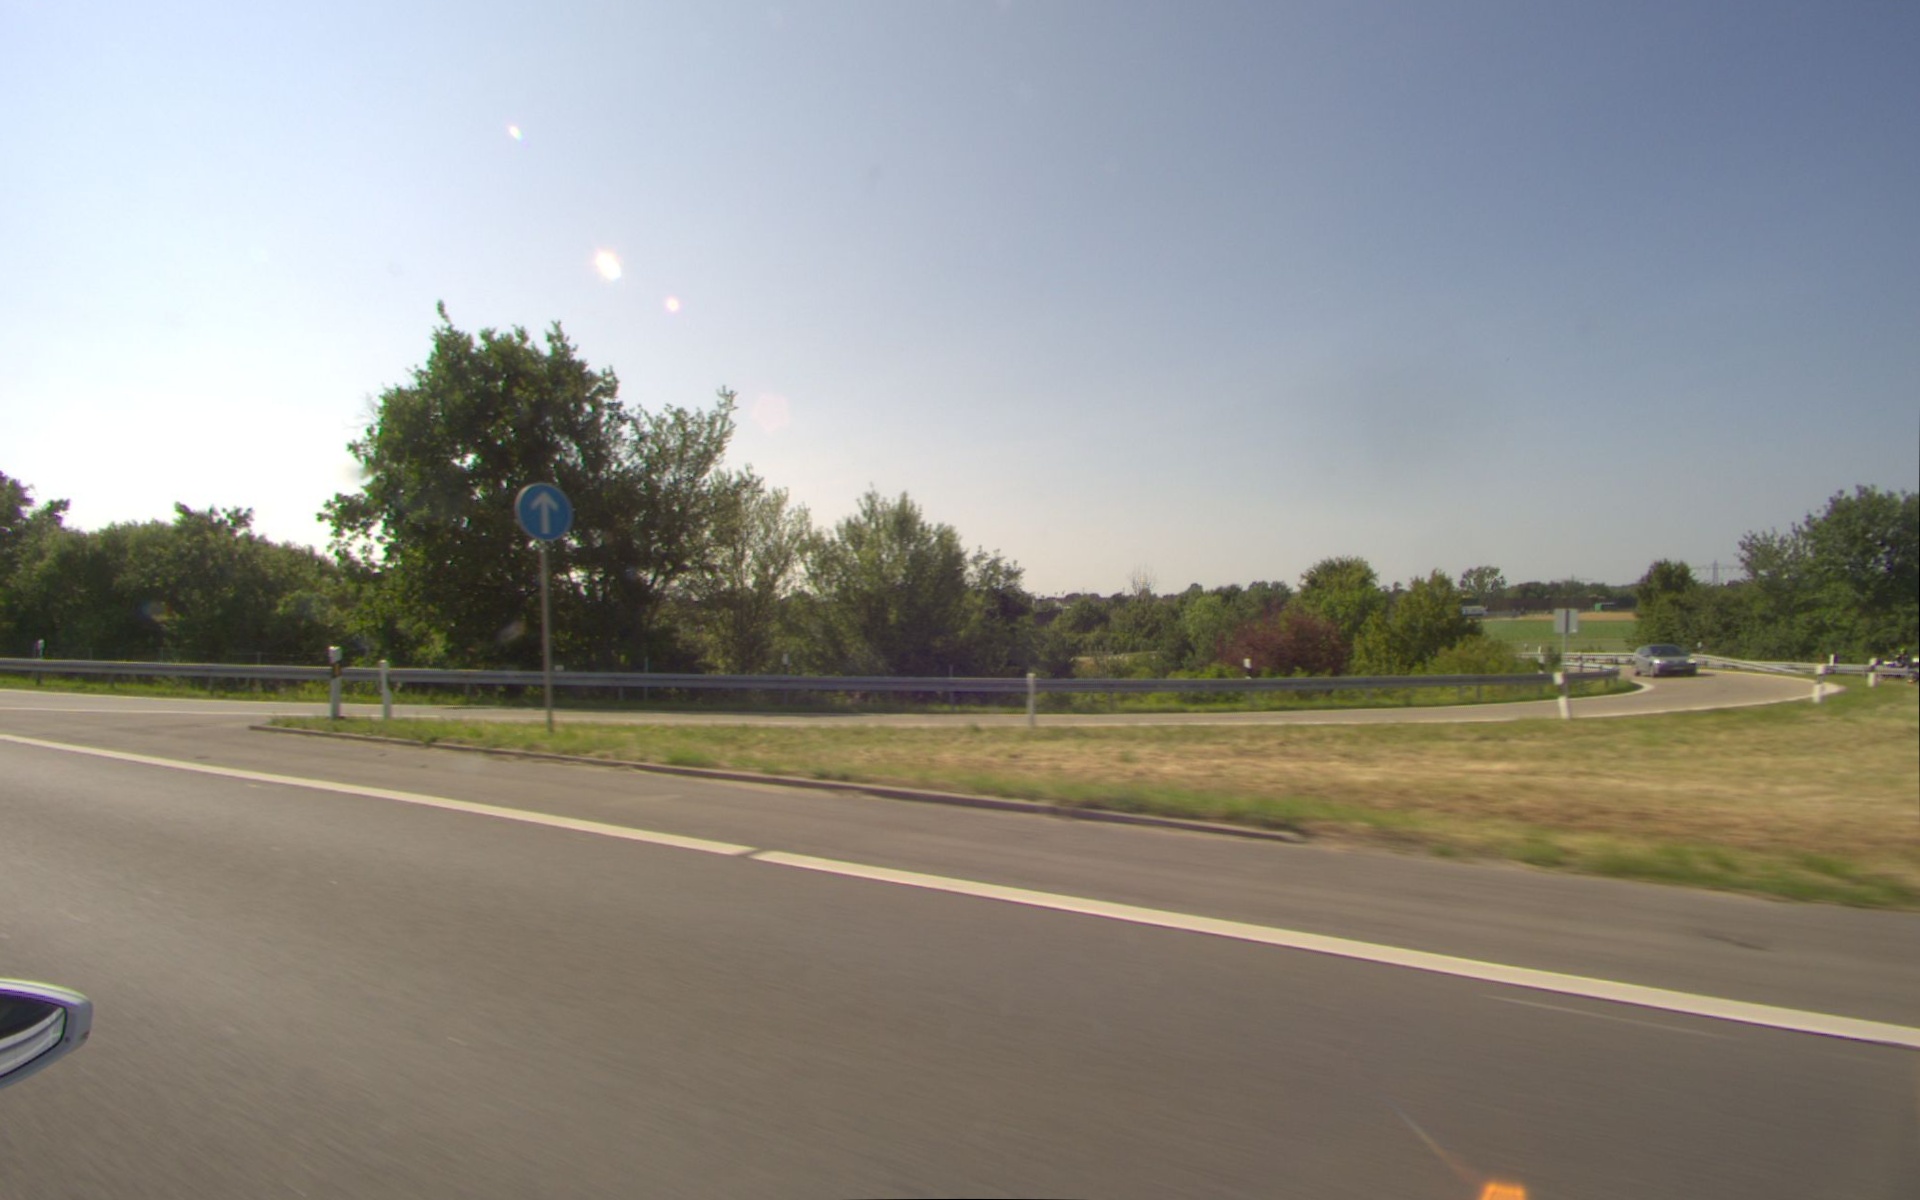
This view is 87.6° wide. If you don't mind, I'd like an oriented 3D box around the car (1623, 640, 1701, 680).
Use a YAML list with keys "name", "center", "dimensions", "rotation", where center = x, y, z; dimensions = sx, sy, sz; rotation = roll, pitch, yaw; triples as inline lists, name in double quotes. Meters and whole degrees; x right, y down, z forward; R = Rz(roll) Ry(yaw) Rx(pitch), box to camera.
- name: "car"
  center: [34.049, 2.885, 48.660]
  dimensions: [1.832, 1.686, 3.995]
  rotation: [-4, -2, 17]

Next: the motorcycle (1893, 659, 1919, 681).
- name: "motorcycle"
  center: [48.416, 3.518, 50.298]
  dimensions: [0.677, 1.057, 2.376]
  rotation: [0, -2, -7]

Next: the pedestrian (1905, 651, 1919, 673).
- name: "pedestrian"
  center: [48.412, 3.118, 50.360]
  dimensions: [0.677, 1.058, 1.136]
  rotation: [0, -2, -7]
